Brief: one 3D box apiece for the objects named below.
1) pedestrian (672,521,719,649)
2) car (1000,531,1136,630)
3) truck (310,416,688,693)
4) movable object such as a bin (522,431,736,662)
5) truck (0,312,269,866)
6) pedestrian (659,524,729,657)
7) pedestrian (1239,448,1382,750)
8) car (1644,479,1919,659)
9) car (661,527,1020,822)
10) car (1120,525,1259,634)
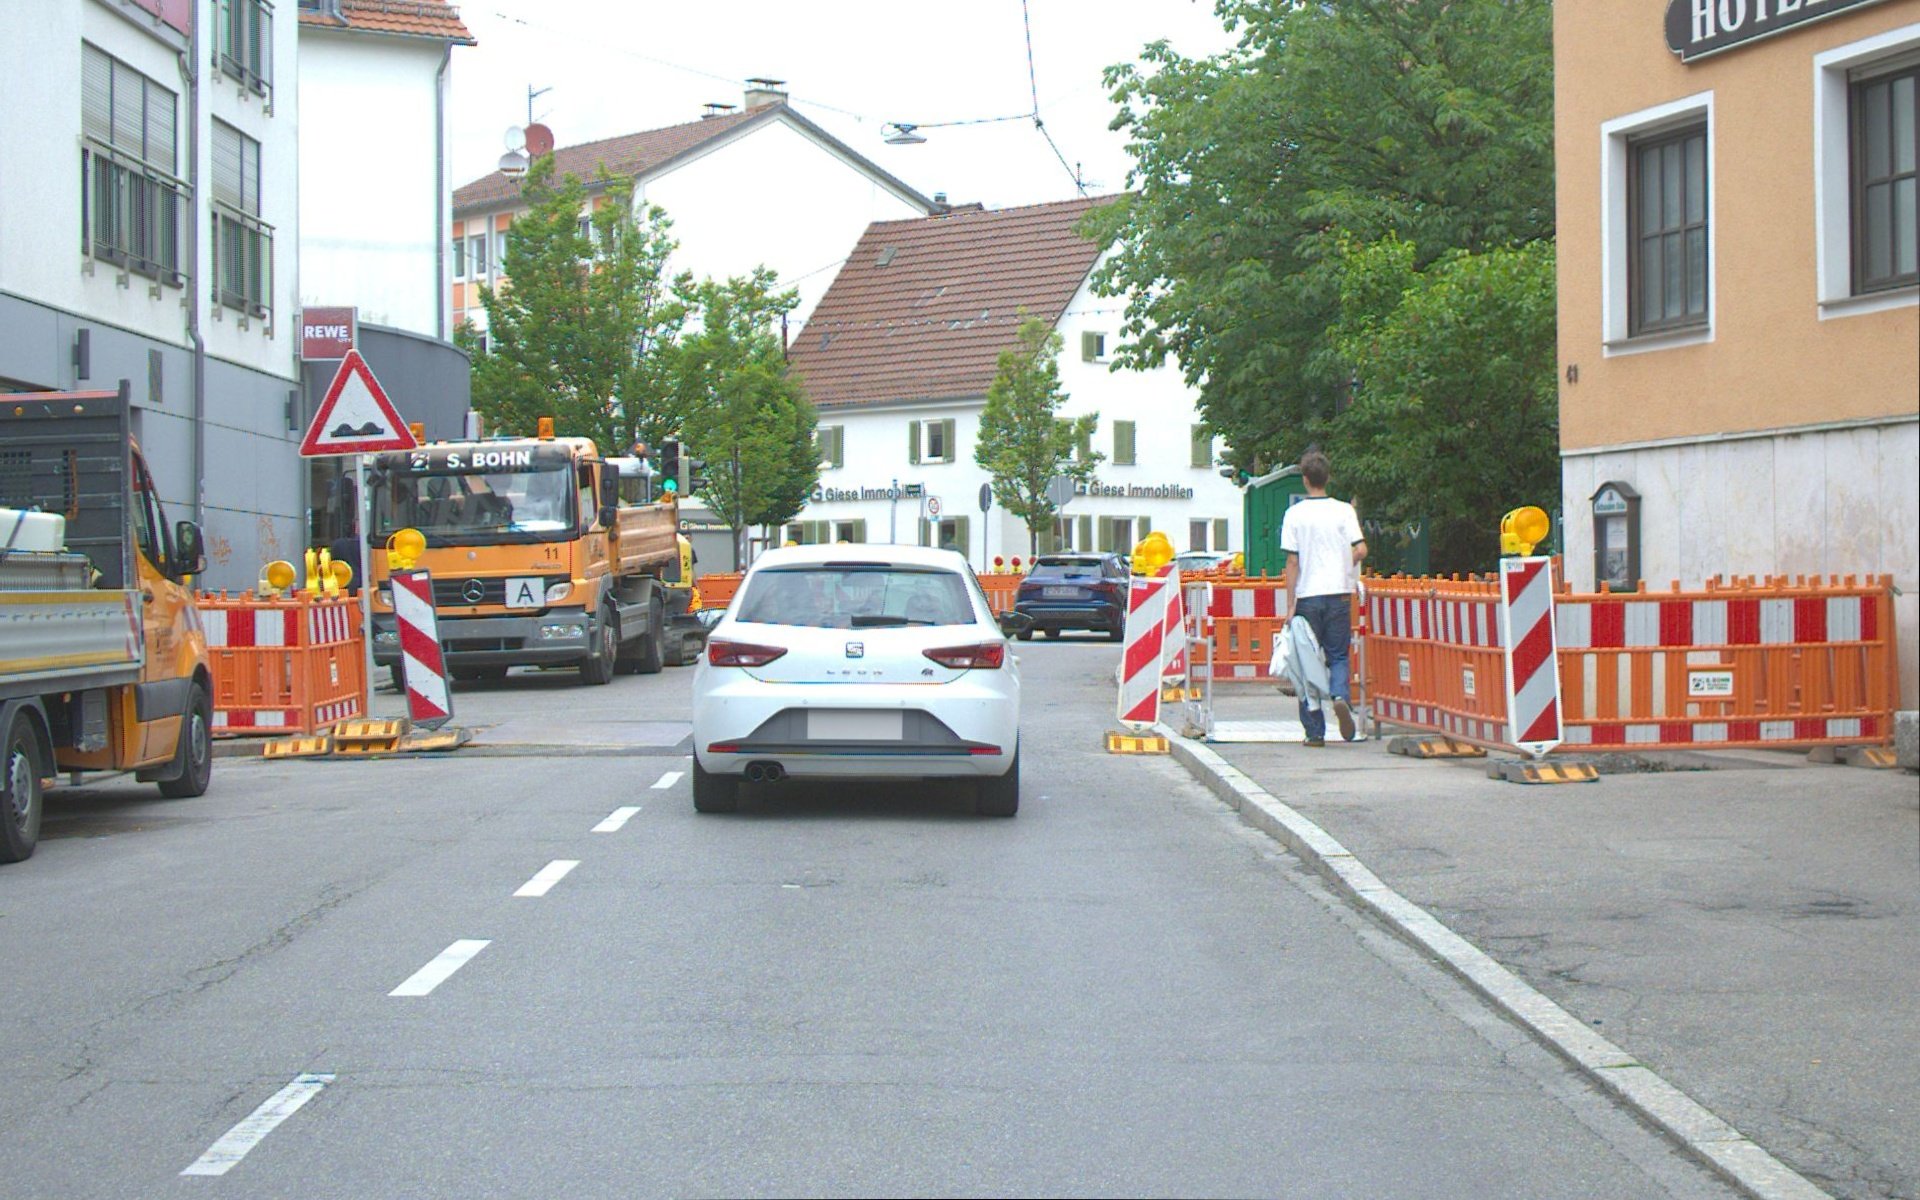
[{"bbox_3d":[-3.625,-0.208,47.173,0.537,1.738,0.443,-1,1,8],"label":"pedestrian"},{"bbox_3d":[1.780,-0.341,55.368,1.812,1.475,3.869,-1,1,7],"label":"car"},{"bbox_3d":[-4.850,-0.530,37.551,2.731,2.715,6.847,-1,1,4],"label":"truck"},{"bbox_3d":[-4.125,-0.634,43.569,1.839,2.754,4.504,-1,0,6],"label":"movable object such as a bin"},{"bbox_3d":[-5.465,-0.100,17.837,2.413,2.457,6.308,-1,1,0],"label":"truck"},{"bbox_3d":[-3.646,-0.136,47.255,0.814,1.809,0.743,0,1,7],"label":"pedestrian"},{"bbox_3d":[2.306,-0.017,22.709,0.798,1.943,0.836,-1,1,-2],"label":"pedestrian"},{"bbox_3d":[10.364,-0.371,40.158,4.221,2.026,1.997,0,1,31],"label":"car"},{"bbox_3d":[-0.590,0.339,19.338,1.811,1.475,3.871,0,1,0],"label":"car"},{"bbox_3d":[4.466,-0.404,66.321,1.995,2.007,3.998,0,1,14],"label":"car"}]
